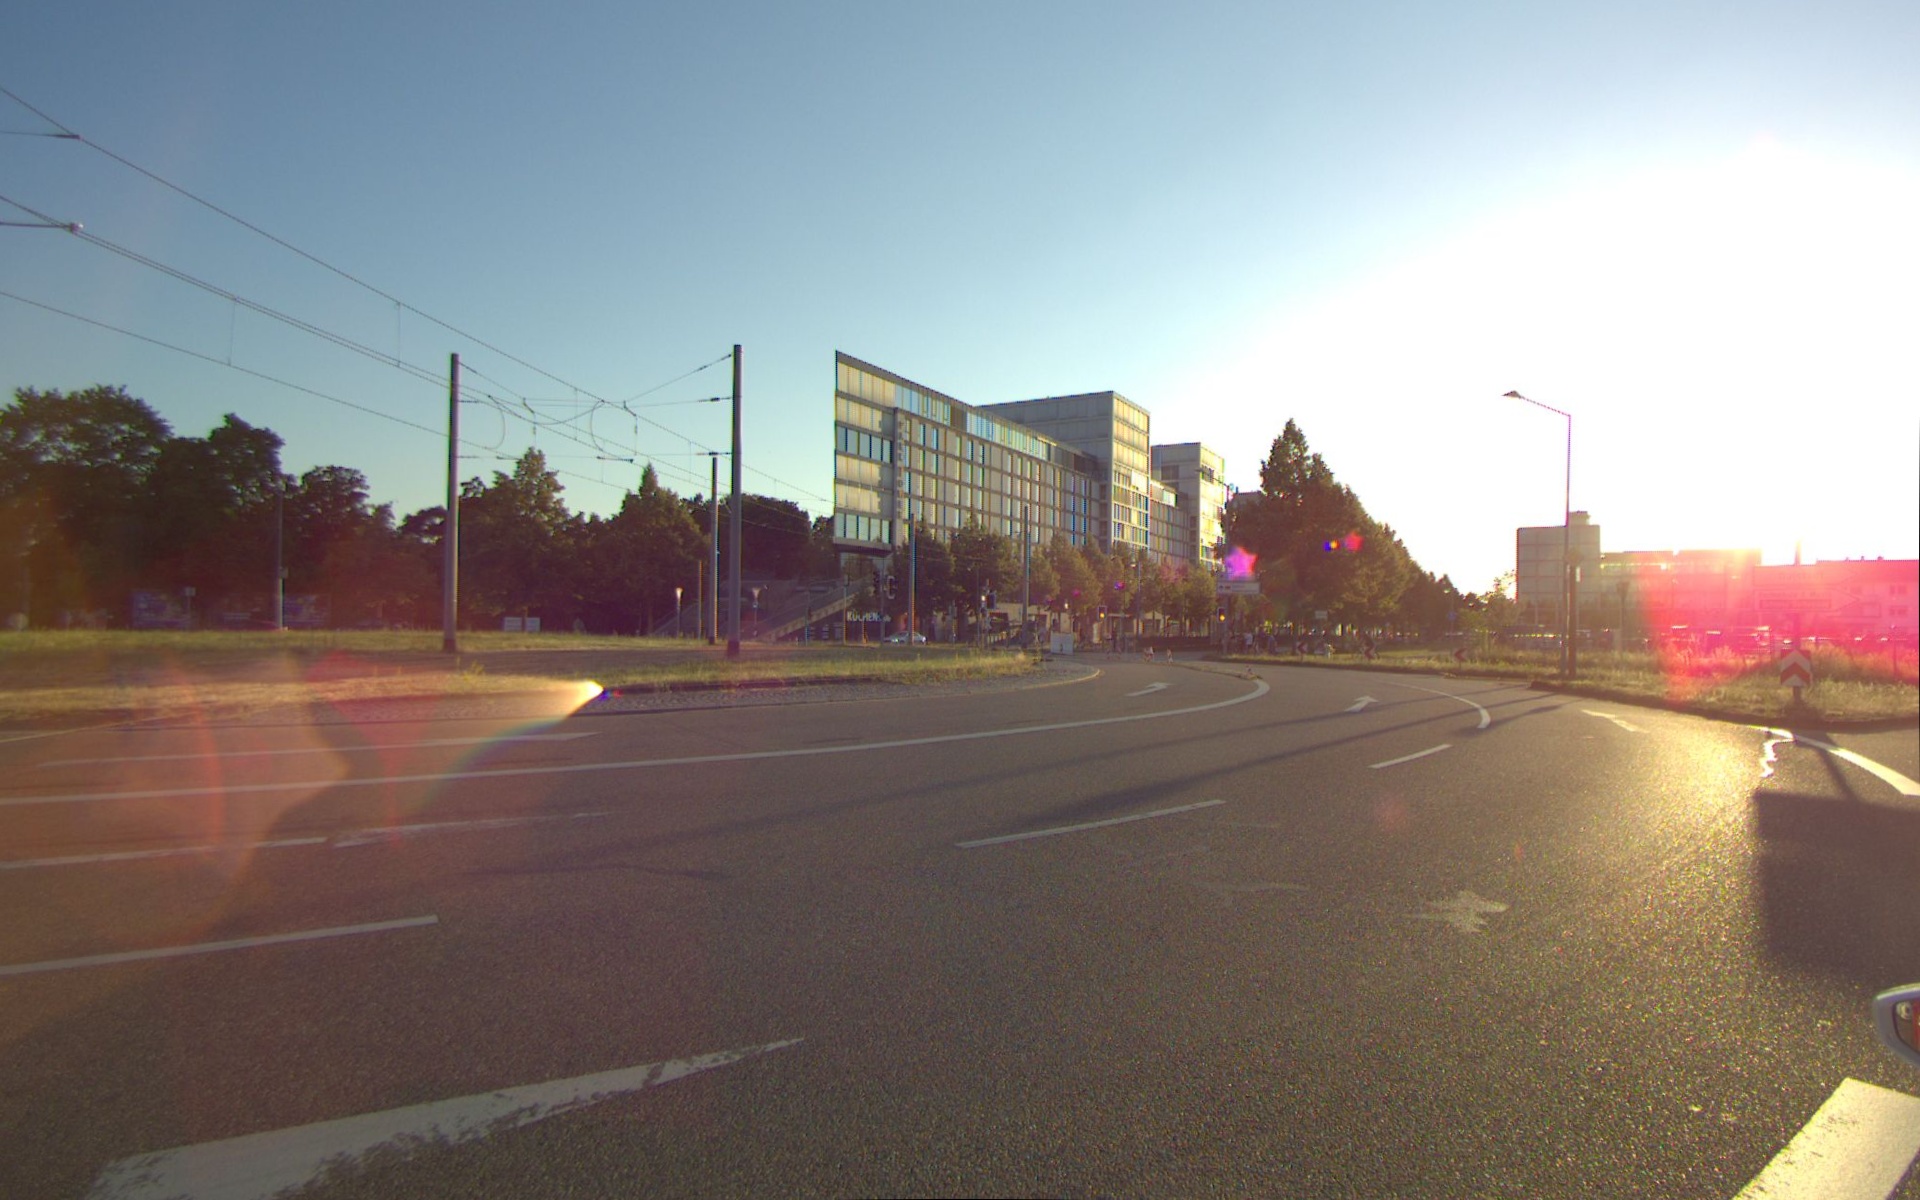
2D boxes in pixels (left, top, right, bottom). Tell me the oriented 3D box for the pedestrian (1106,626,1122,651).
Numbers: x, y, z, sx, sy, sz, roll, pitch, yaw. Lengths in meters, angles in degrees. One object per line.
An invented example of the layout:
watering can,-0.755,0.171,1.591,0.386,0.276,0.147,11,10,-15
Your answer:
pedestrian,10.778,2.707,70.281,0.871,1.730,0.794,0,-1,24

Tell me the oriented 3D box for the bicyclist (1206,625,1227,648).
bicyclist,15.628,2.215,61.152,0.749,1.412,0.966,2,-2,-43

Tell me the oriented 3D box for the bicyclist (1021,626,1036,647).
bicyclist,4.766,2.541,70.273,0.862,1.411,0.754,0,-1,21

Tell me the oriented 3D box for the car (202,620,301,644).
car,-42.772,1.934,60.707,4.505,1.451,1.945,0,-1,-1

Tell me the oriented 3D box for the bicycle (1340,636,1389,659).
bicycle,21.827,2.542,54.216,0.749,1.182,2.378,2,-2,-44

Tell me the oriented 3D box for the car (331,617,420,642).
car,-35.485,1.800,61.047,4.234,1.451,1.946,0,-1,3

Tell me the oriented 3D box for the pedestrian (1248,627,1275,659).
pedestrian,17.723,2.506,59.060,0.971,1.851,1.149,2,-1,-38

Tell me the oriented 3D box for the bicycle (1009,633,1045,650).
bicycle,4.670,2.904,70.317,2.362,1.182,0.754,0,-1,21

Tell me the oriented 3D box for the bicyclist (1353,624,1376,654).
bicyclist,21.827,2.105,54.200,0.749,1.634,0.965,2,-2,-44

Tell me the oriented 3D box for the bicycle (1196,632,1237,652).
bicycle,15.629,2.540,61.169,0.749,1.182,2.379,2,-2,-43

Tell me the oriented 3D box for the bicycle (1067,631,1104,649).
bicycle,8.555,2.732,68.438,2.361,1.182,0.755,1,-1,18

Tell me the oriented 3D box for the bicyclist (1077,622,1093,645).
bicyclist,8.524,2.259,68.498,0.959,1.545,0.755,1,-1,18

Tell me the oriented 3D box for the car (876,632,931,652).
car,-4.626,3.461,83.658,1.965,1.565,5.190,0,-2,32
